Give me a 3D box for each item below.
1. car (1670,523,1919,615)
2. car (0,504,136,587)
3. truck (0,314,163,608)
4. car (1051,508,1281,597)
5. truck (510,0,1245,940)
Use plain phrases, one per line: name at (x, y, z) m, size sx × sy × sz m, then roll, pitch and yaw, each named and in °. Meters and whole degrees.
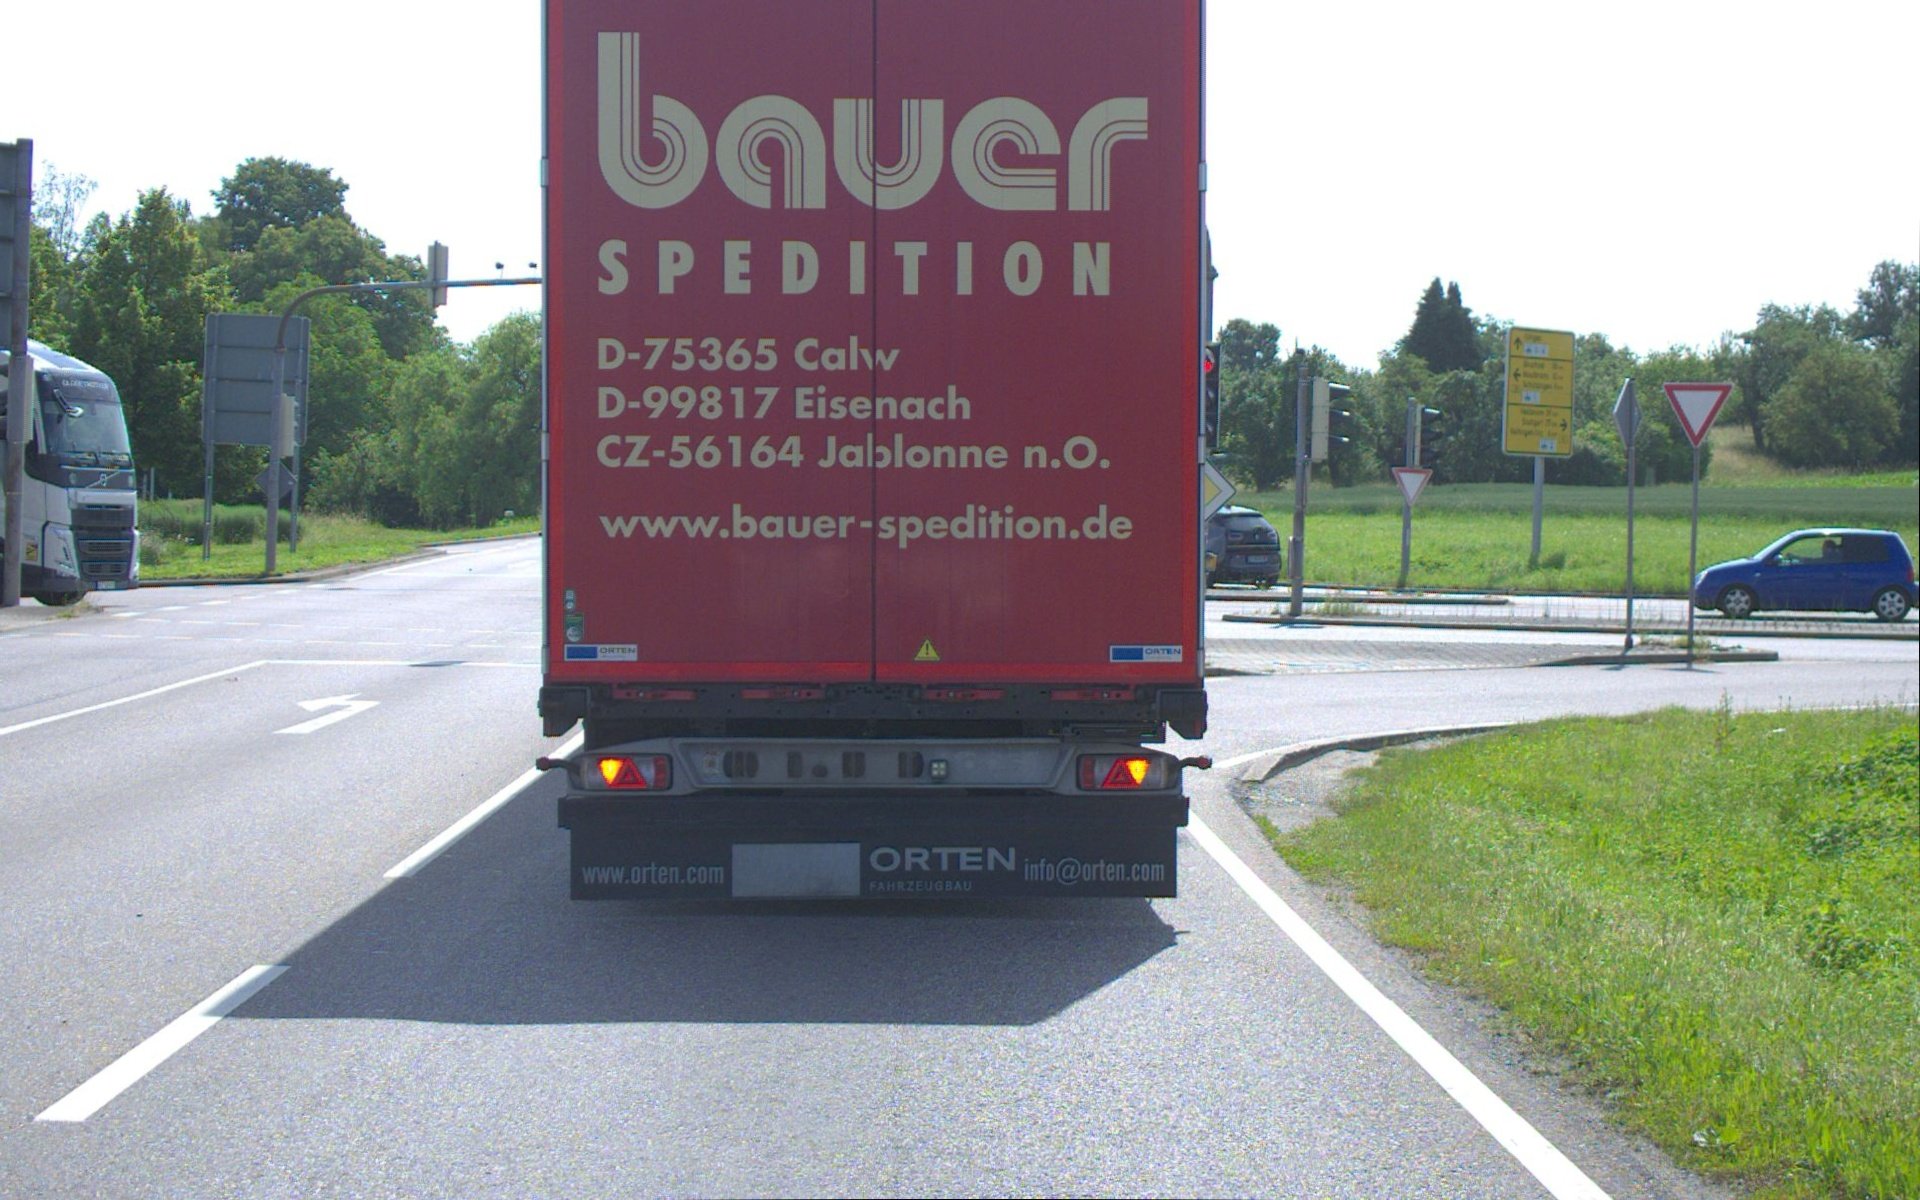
car at (13.090, -0.493, 53.705) m, size 3.850 × 1.352 × 1.675 m, roll 1°, pitch 1°, yaw 13°
car at (-17.120, -0.993, 61.784) m, size 3.989 × 1.424 × 1.999 m, roll 1°, pitch 0°, yaw 14°
truck at (-14.820, -2.030, 49.607) m, size 5.831 × 4.047 × 2.796 m, roll 1°, pitch 2°, yaw 18°
car at (3.928, -0.913, 66.026) m, size 4.284 × 1.650 × 1.695 m, roll 1°, pitch 0°, yaw 43°
truck at (-0.442, -0.903, 21.254) m, size 2.734 × 3.911 × 16.627 m, roll 1°, pitch 2°, yaw -1°
